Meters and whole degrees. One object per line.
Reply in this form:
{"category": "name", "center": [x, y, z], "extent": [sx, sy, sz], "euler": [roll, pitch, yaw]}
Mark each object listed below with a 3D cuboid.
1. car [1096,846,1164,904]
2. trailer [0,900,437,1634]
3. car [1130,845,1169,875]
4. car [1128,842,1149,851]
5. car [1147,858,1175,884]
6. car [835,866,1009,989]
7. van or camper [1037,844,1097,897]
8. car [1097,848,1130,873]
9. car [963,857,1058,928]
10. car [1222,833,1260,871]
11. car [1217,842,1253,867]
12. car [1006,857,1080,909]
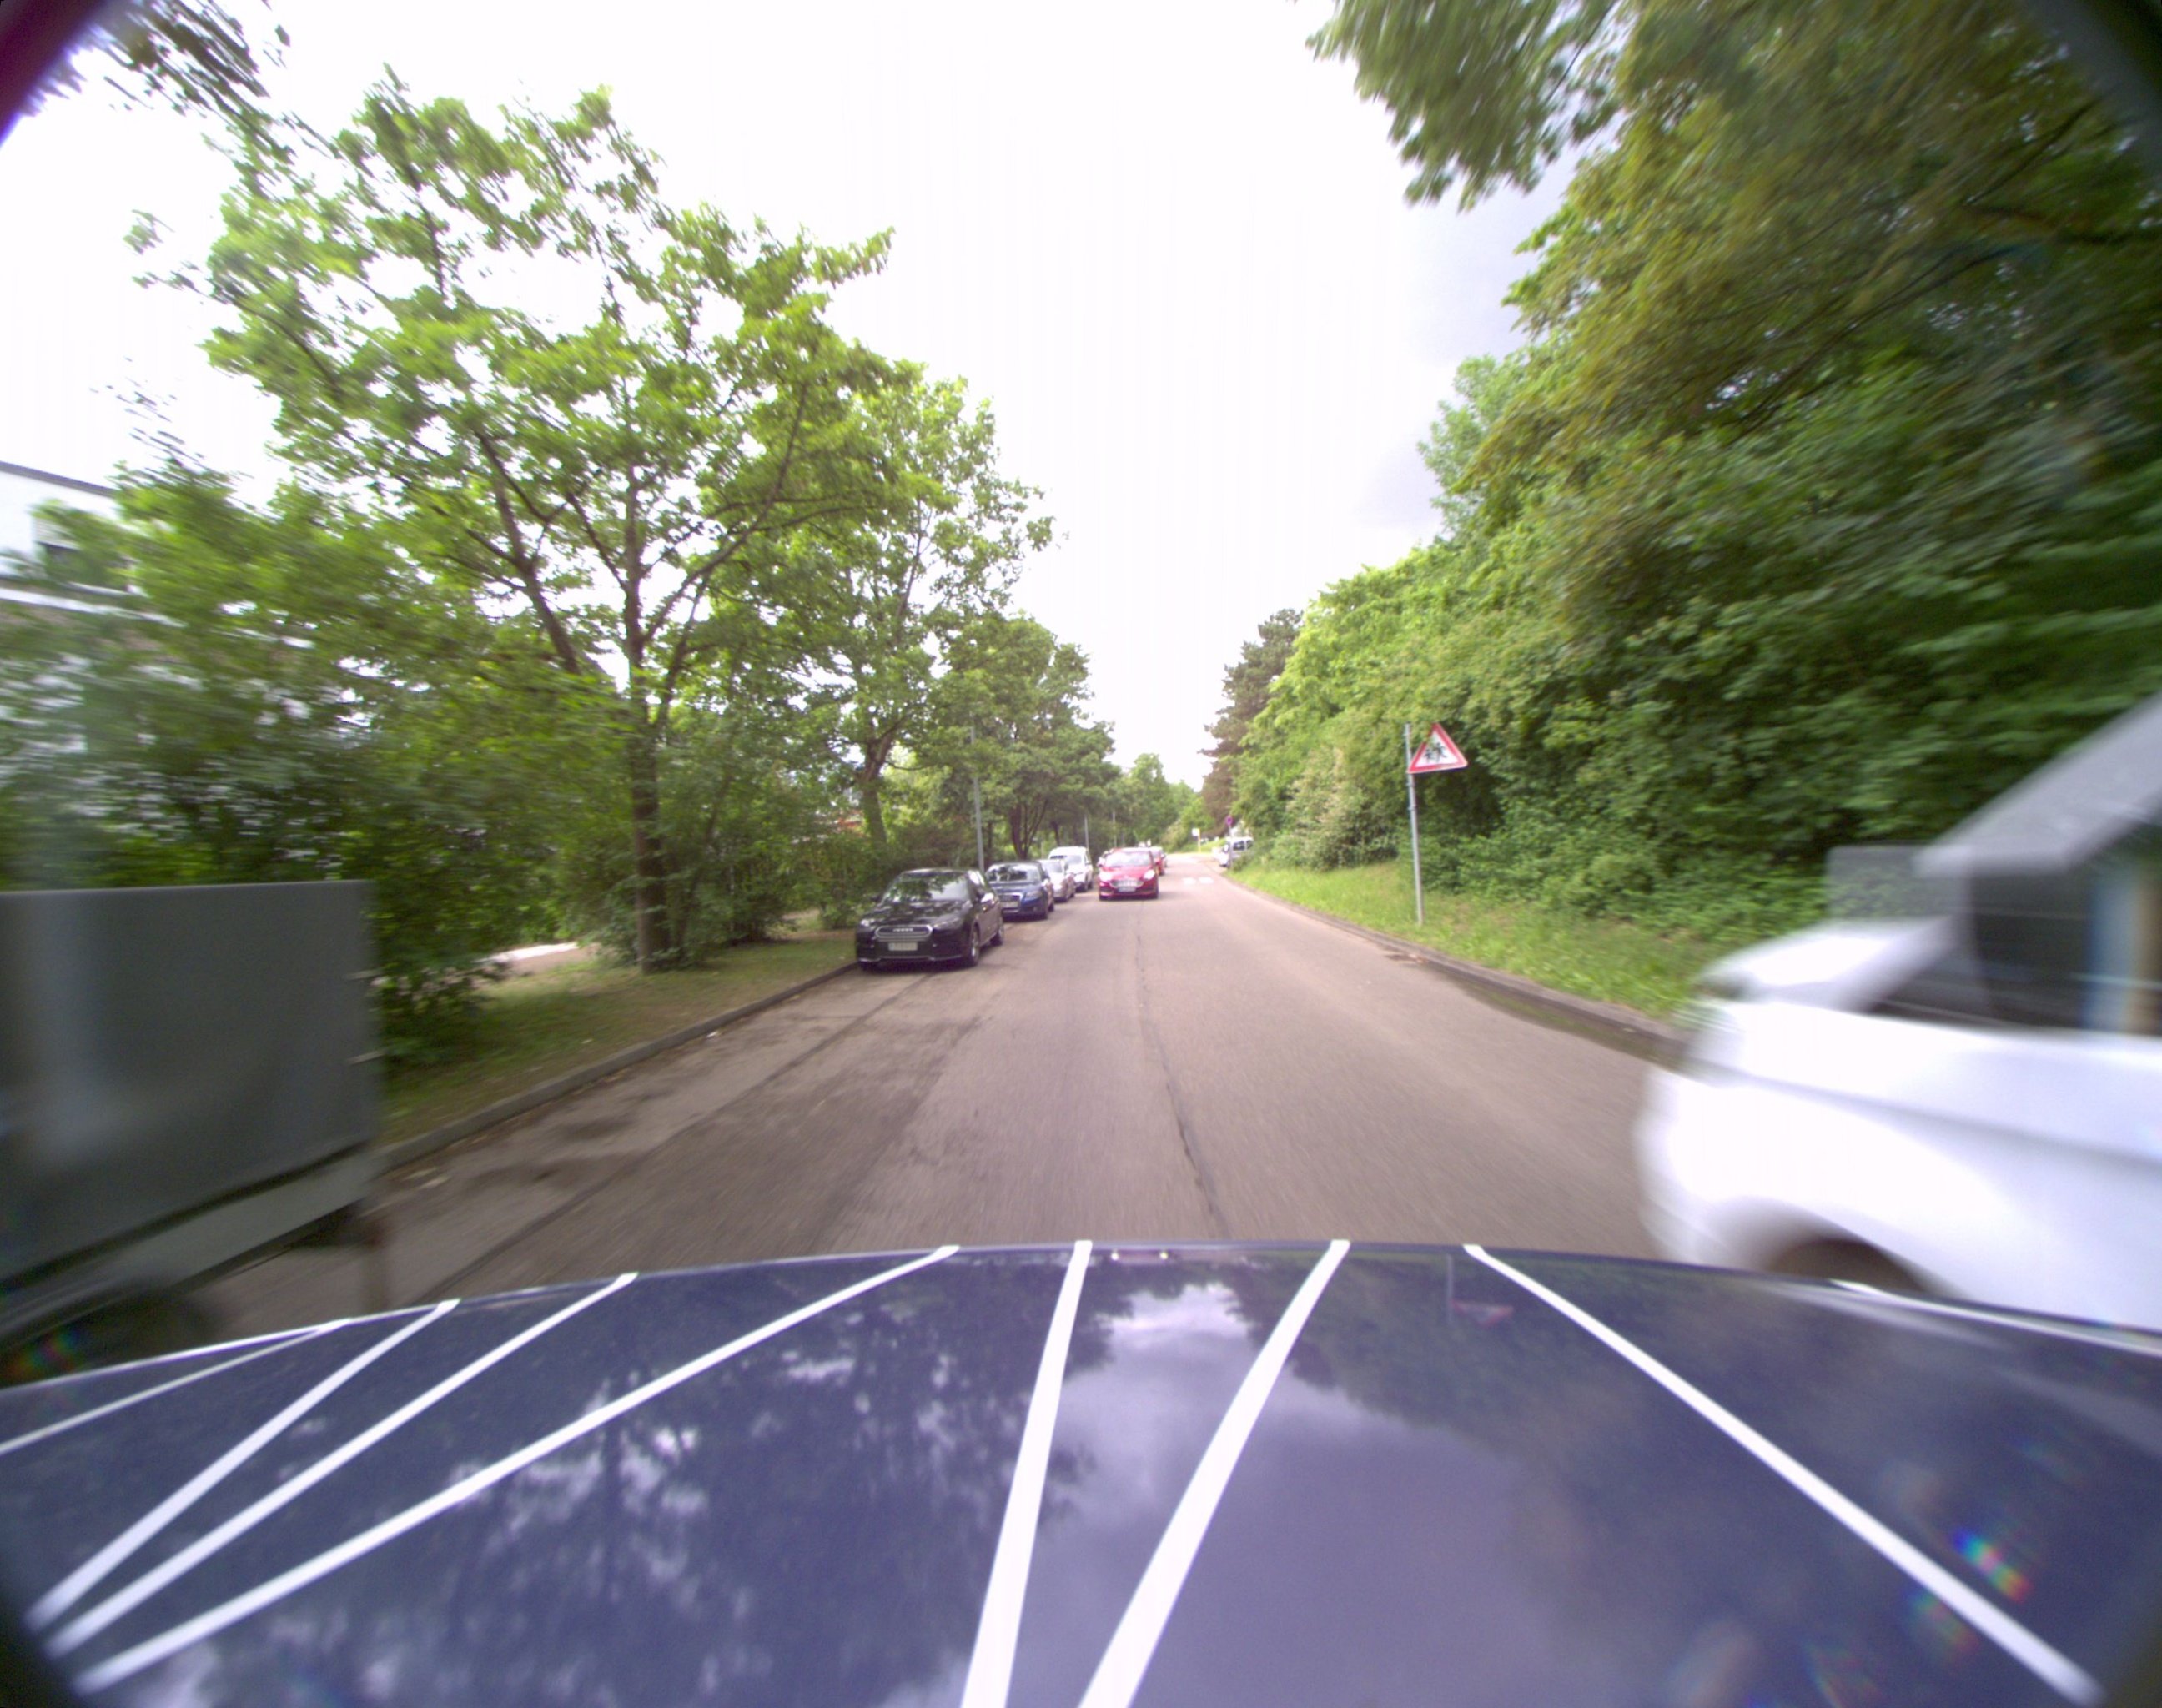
{"category": "car", "center": [1.705, 0.620, 25.378], "extent": [1.944, 1.550, 4.356], "euler": [-5, 1, 6]}
{"category": "trailer", "center": [-3.106, 0.995, 1.587], "extent": [1.281, 1.576, 2.460], "euler": [-3, 0, 2]}
{"category": "car", "center": [3.888, 0.345, 43.768], "extent": [1.998, 1.503, 4.002], "euler": [-5, -1, 4]}
{"category": "car", "center": [11.824, -1.562, 155.791], "extent": [3.802, 1.629, 2.003], "euler": [-4, 2, 32]}
{"category": "car", "center": [6.324, 1.335, 60.139], "extent": [1.998, 1.684, 4.000], "euler": [-5, 2, 5]}
{"category": "car", "center": [-2.294, 1.007, 12.014], "extent": [1.724, 1.444, 3.917], "euler": [-3, 1, 2]}
{"category": "van or camper", "center": [-0.487, 0.604, 30.992], "extent": [1.805, 1.827, 4.321], "euler": [-3, 2, 6]}
{"category": "car", "center": [2.302, 0.400, 52.501], "extent": [1.890, 1.498, 5.178], "euler": [-3, 0, 6]}
{"category": "car", "center": [-1.691, 0.901, 19.615], "extent": [1.852, 1.466, 4.478], "euler": [-3, 1, 1]}
{"category": "car", "center": [9.152, -0.113, 43.759], "extent": [1.724, 1.910, 4.107], "euler": [-5, 0, 8]}
{"category": "car", "center": [10.128, 0.012, 50.312], "extent": [1.809, 1.394, 4.373], "euler": [-4, 0, 6]}
{"category": "car", "center": [-1.178, 0.910, 25.526], "extent": [1.817, 1.429, 4.244], "euler": [-4, 0, 5]}
